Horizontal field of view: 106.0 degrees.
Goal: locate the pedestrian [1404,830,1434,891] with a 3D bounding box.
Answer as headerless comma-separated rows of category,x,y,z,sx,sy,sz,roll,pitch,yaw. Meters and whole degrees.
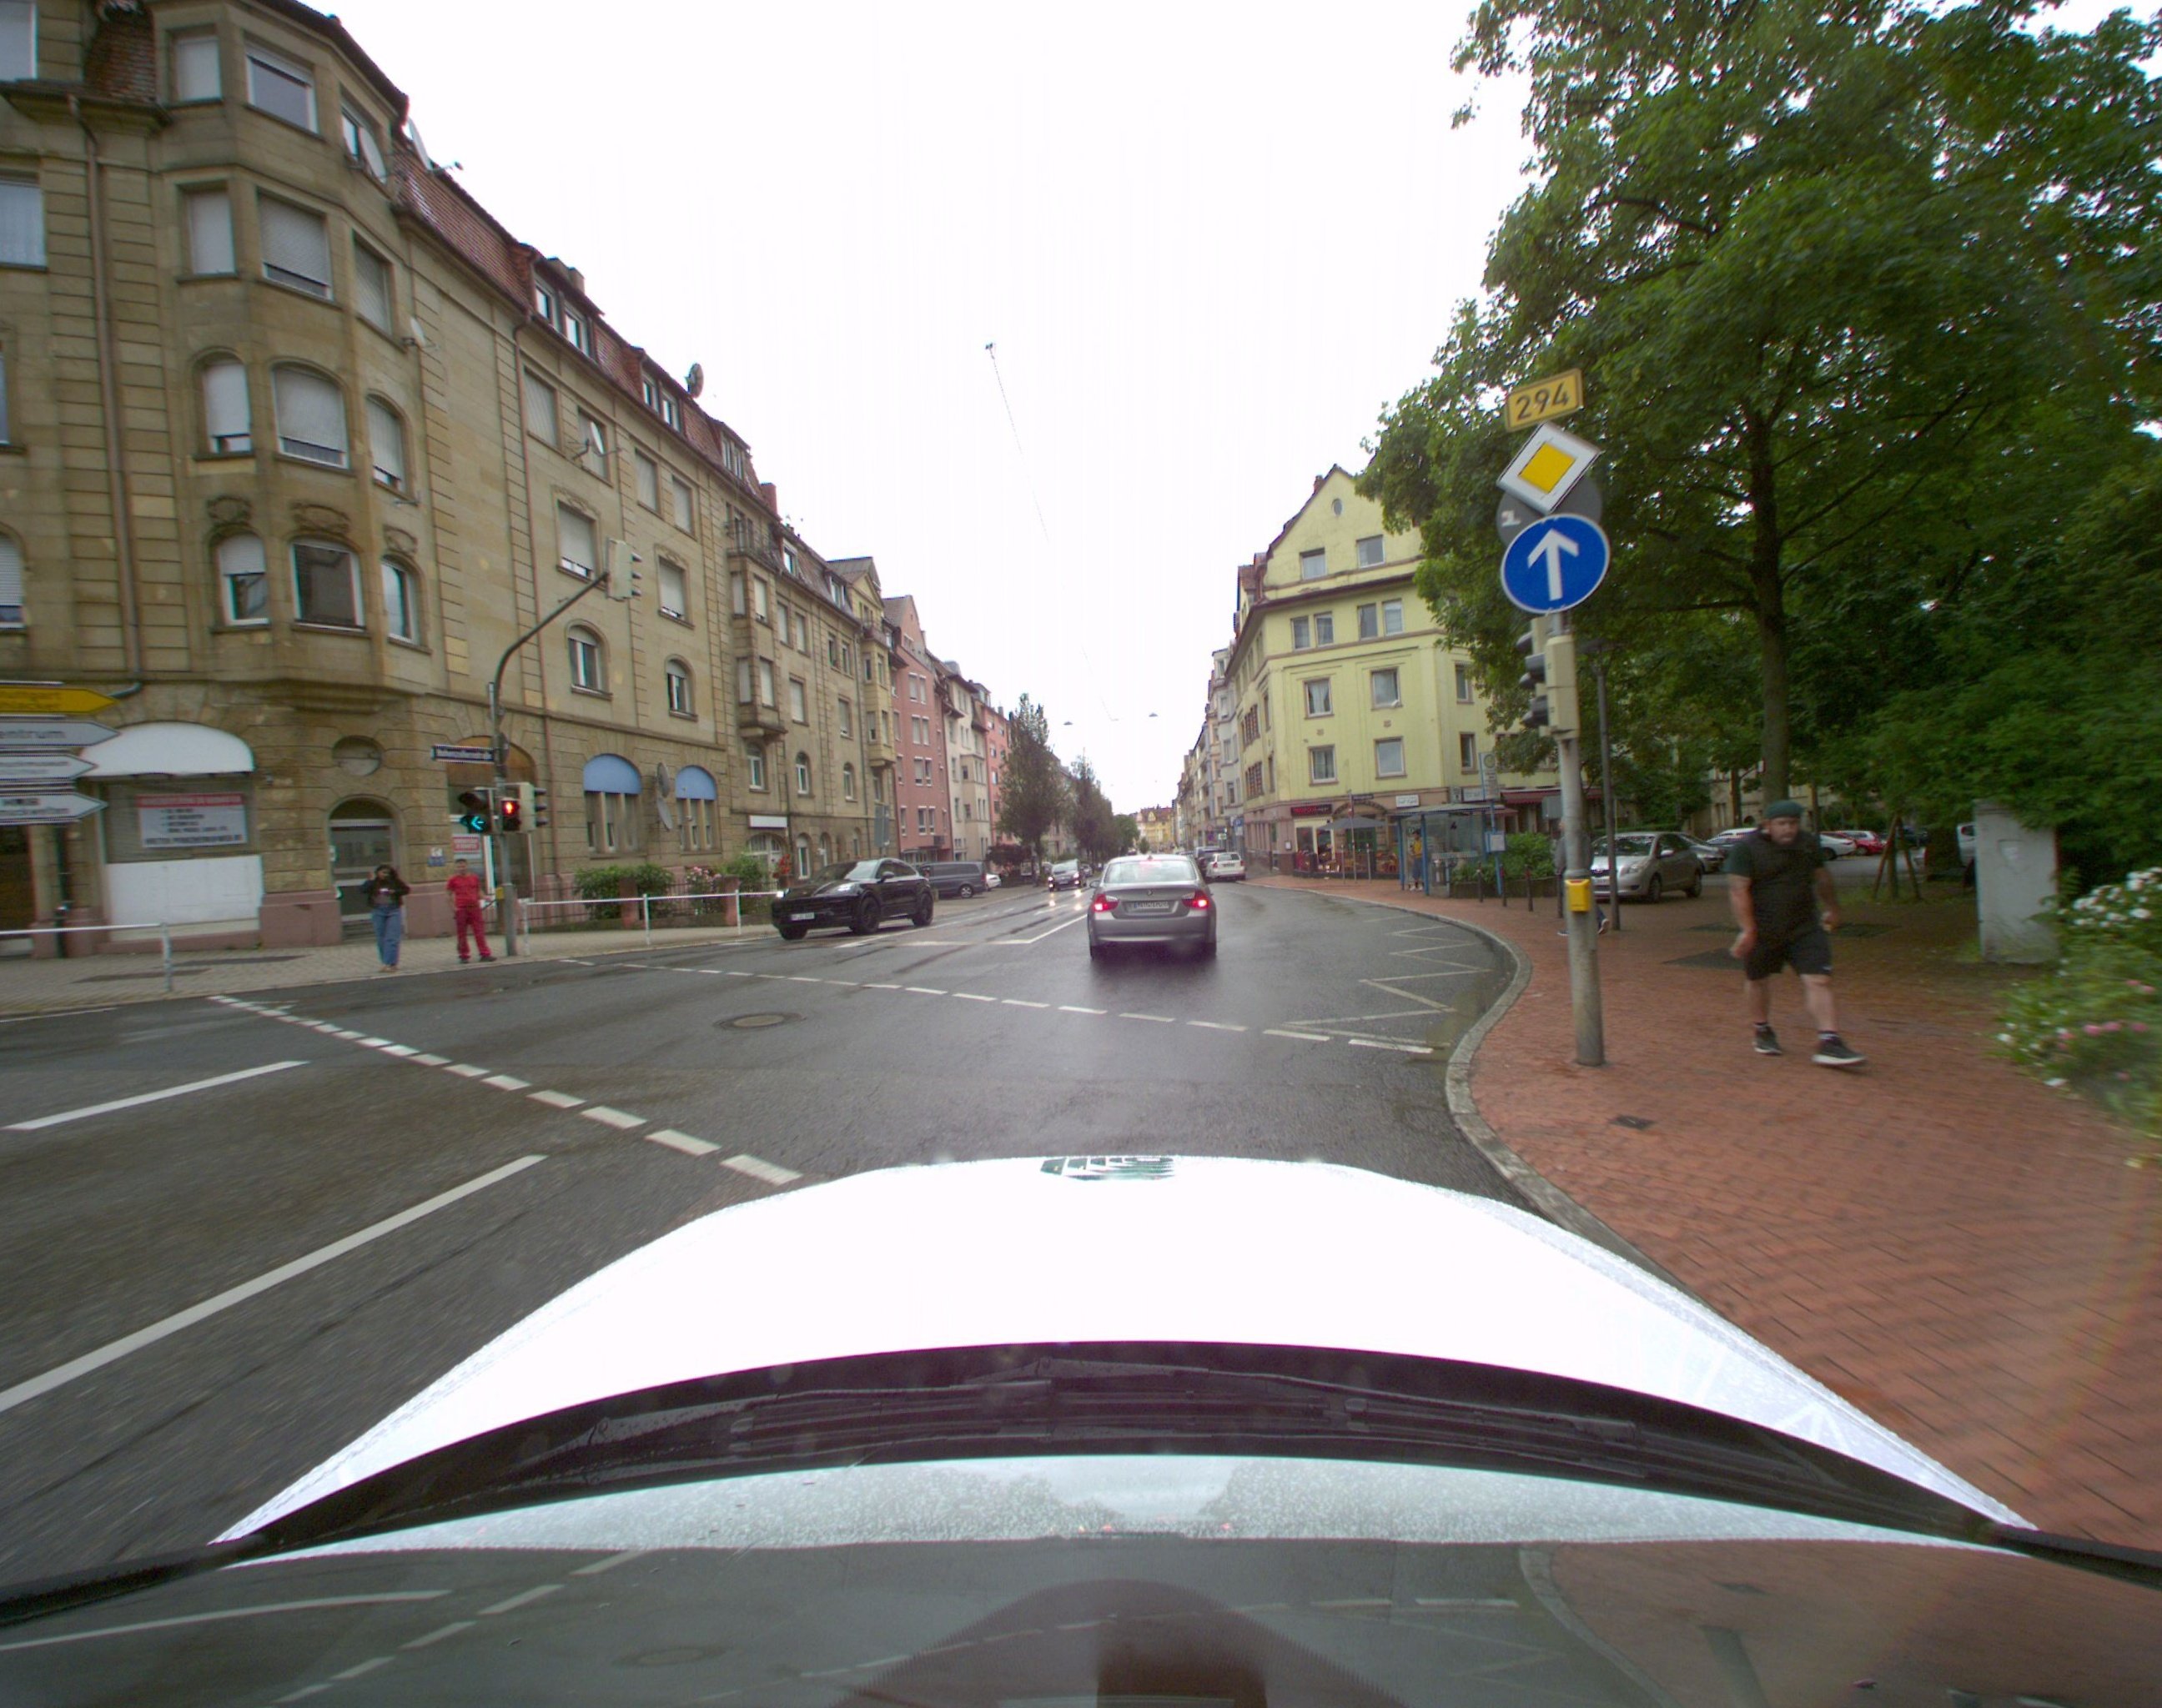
pedestrian,10.043,0.195,24.215,0.547,1.775,0.555,-1,-1,-29

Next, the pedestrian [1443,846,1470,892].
pedestrian,10.531,0.411,22.858,0.565,1.280,0.621,-2,0,18

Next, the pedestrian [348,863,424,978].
pedestrian,-10.857,1.001,12.724,0.834,1.702,0.631,-1,-1,-45

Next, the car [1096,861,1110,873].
car,3.203,1.956,119.796,1.759,1.594,4.004,-6,-1,4

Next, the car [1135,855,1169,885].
car,3.814,0.858,43.775,1.689,1.483,3.799,-2,-1,5

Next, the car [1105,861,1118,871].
car,5.272,2.047,140.974,1.818,1.523,3.743,-6,-1,6

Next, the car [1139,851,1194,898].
car,2.923,0.674,27.721,1.673,1.428,3.747,-2,-1,6

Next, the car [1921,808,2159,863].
car,27.528,-0.483,23.536,1.715,1.396,4.288,-1,0,-34

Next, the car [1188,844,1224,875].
car,8.205,0.366,53.863,1.910,1.827,5.016,-5,-1,5

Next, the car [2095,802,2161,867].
car,27.707,-0.587,19.571,1.884,1.528,3.957,-1,-3,-34

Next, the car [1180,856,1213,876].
car,9.291,0.991,65.576,1.870,1.467,4.772,-2,-1,-1

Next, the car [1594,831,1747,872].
car,23.454,-0.067,32.561,1.800,1.528,4.598,-1,0,-34

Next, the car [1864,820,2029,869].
car,28.205,-0.275,26.638,1.597,1.465,3.463,-1,0,-34

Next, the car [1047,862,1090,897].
car,-0.625,1.374,45.029,1.612,1.649,4.428,-6,-1,7

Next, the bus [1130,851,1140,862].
bus,16.550,0.800,248.472,2.656,3.024,7.681,-5,-1,5

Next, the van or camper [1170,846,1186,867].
van or camper,13.995,0.358,117.304,2.021,2.869,6.902,-1,0,9

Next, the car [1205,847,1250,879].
car,7.570,0.471,42.477,1.791,1.565,4.497,-2,-1,4

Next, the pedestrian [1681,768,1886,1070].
pedestrian,4.346,0.364,5.129,0.820,1.678,0.900,-2,0,33

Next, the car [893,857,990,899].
car,-7.097,1.208,41.874,4.666,1.938,1.860,-2,0,-5

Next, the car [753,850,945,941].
car,-4.951,0.868,18.236,1.951,1.693,4.825,-3,-2,14

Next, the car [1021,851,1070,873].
car,-3.762,0.849,86.290,4.806,1.974,2.051,-4,-1,5

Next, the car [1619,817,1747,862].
car,25.229,-0.574,34.246,1.800,1.727,3.957,-1,0,-34

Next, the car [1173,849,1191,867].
car,13.200,0.560,106.821,1.972,2.166,4.756,-5,-1,5

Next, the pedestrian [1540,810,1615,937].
pedestrian,7.065,0.272,11.615,0.570,1.733,0.731,-2,0,0

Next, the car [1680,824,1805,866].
car,29.341,-0.389,36.223,1.800,1.727,3.957,-1,0,-34

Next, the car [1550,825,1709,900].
car,12.188,0.174,18.046,3.690,1.502,1.752,0,0,-36

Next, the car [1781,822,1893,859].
car,38.470,-0.678,41.528,1.800,1.748,3.856,-1,0,-34

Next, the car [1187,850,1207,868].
car,12.135,0.556,85.298,1.718,1.670,4.294,-6,-1,5

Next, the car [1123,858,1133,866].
car,9.421,1.620,162.495,1.628,1.508,3.760,-6,-1,5

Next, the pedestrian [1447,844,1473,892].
pedestrian,10.356,0.376,22.265,0.565,1.280,0.537,-2,0,17

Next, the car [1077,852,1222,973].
car,1.095,0.741,12.054,1.760,1.428,3.749,-2,1,7

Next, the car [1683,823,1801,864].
car,31.113,-0.473,38.452,1.800,1.789,3.957,-1,0,-34

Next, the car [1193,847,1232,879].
car,7.670,0.541,47.818,1.870,1.731,4.683,-2,-1,5

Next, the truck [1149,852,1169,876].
truck,8.255,1.075,86.376,2.022,2.412,4.832,-2,-1,5

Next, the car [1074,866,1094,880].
car,0.374,2.063,90.969,1.717,1.484,3.995,-2,-1,6

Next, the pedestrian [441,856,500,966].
pedestrian,-10.232,0.938,13.657,0.695,1.774,0.519,-1,-1,-29

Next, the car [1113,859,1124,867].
car,7.444,1.775,161.650,1.682,1.523,3.743,-6,-1,6

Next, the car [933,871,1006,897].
car,-7.535,2.025,55.199,4.527,1.401,1.770,-5,-1,4

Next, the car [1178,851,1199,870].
car,12.116,0.732,92.174,1.972,2.007,4.631,-5,-1,5
